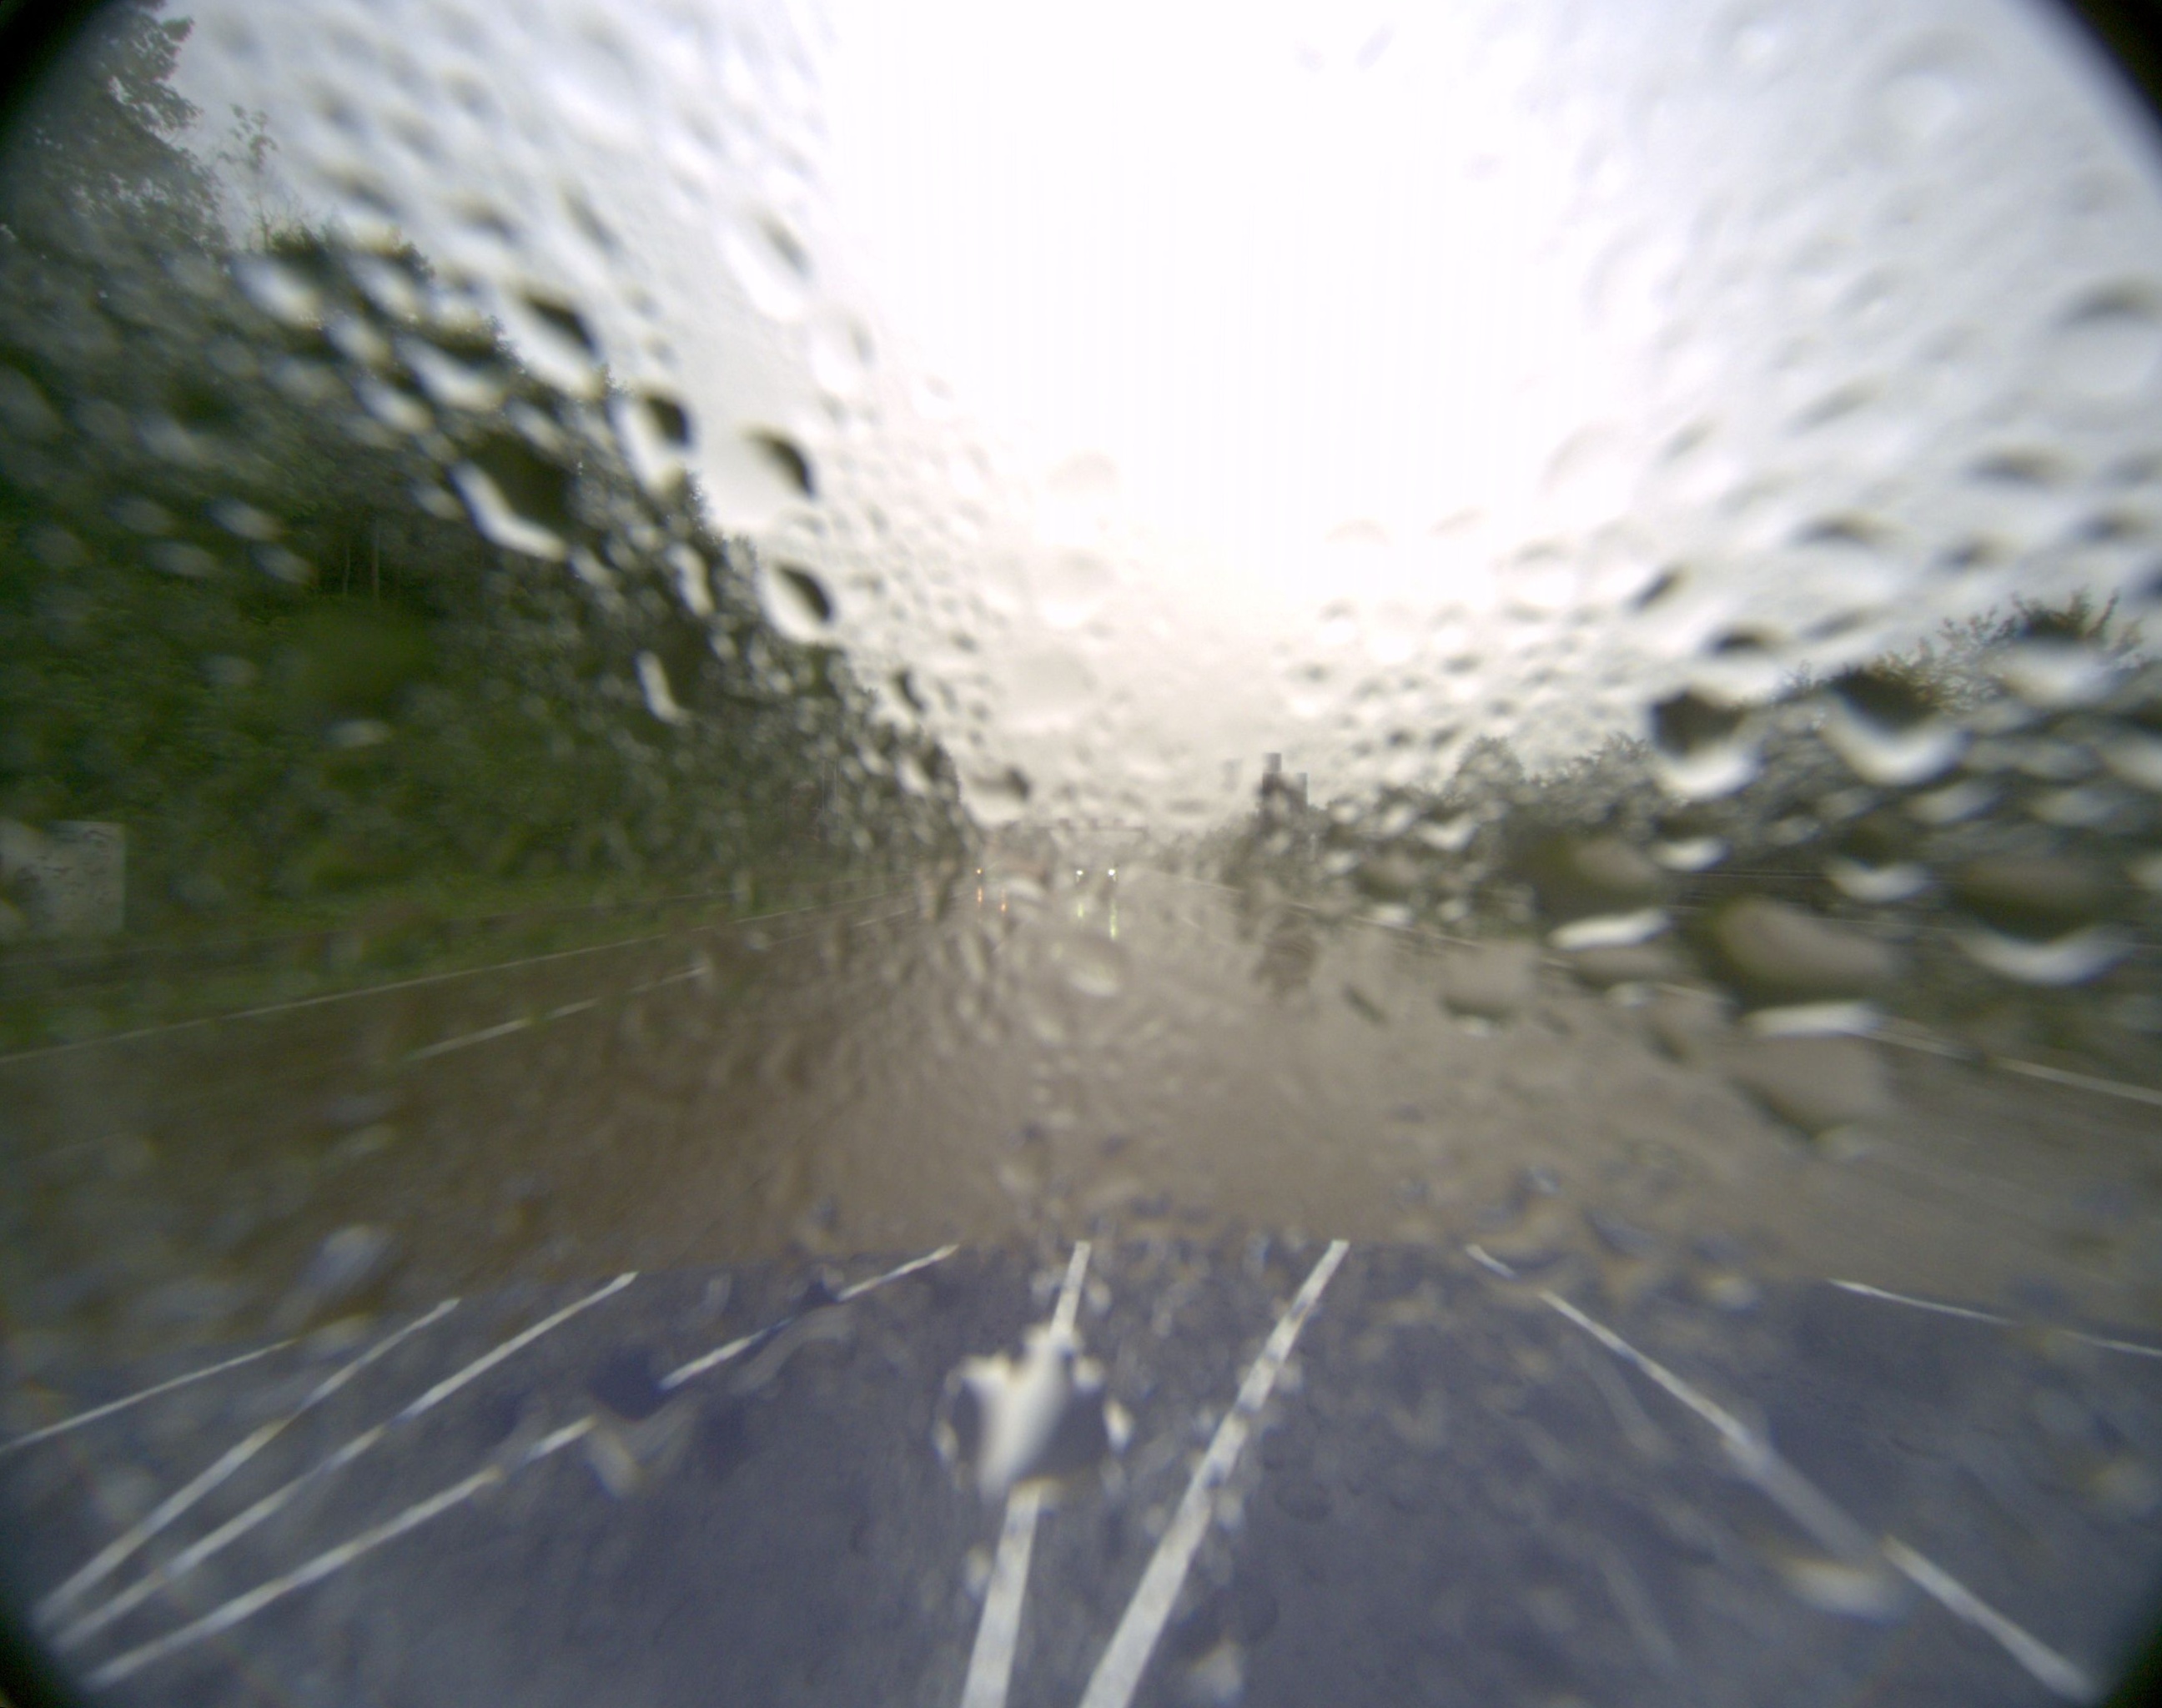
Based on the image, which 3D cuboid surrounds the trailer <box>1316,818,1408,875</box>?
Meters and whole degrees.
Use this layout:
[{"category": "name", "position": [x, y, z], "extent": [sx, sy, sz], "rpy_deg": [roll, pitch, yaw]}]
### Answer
[{"category": "trailer", "position": [22.560, -0.550, 61.959], "extent": [3.363, 4.149, 11.401], "rpy_deg": [-1, 0, 1]}]

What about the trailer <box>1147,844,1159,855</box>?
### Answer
[{"category": "trailer", "position": [24.827, -1.429, 261.355], "extent": [2.972, 3.653, 12.285], "rpy_deg": [-1, 0, 1]}]

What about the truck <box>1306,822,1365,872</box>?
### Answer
[{"category": "truck", "position": [22.637, -0.627, 67.949], "extent": [3.382, 4.160, 5.519], "rpy_deg": [-1, 0, 0]}]

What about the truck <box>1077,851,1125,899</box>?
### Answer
[{"category": "truck", "position": [0.857, 0.880, 36.012], "extent": [1.998, 2.002, 7.575], "rpy_deg": [0, 0, 0]}]

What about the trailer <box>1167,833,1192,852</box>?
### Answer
[{"category": "trailer", "position": [19.681, -2.355, 152.837], "extent": [2.859, 3.522, 13.704], "rpy_deg": [-2, 1, -1]}]

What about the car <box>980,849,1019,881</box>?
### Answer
[{"category": "car", "position": [-5.320, 0.697, 50.249], "extent": [1.859, 2.002, 4.001], "rpy_deg": [-1, 0, 3]}]
